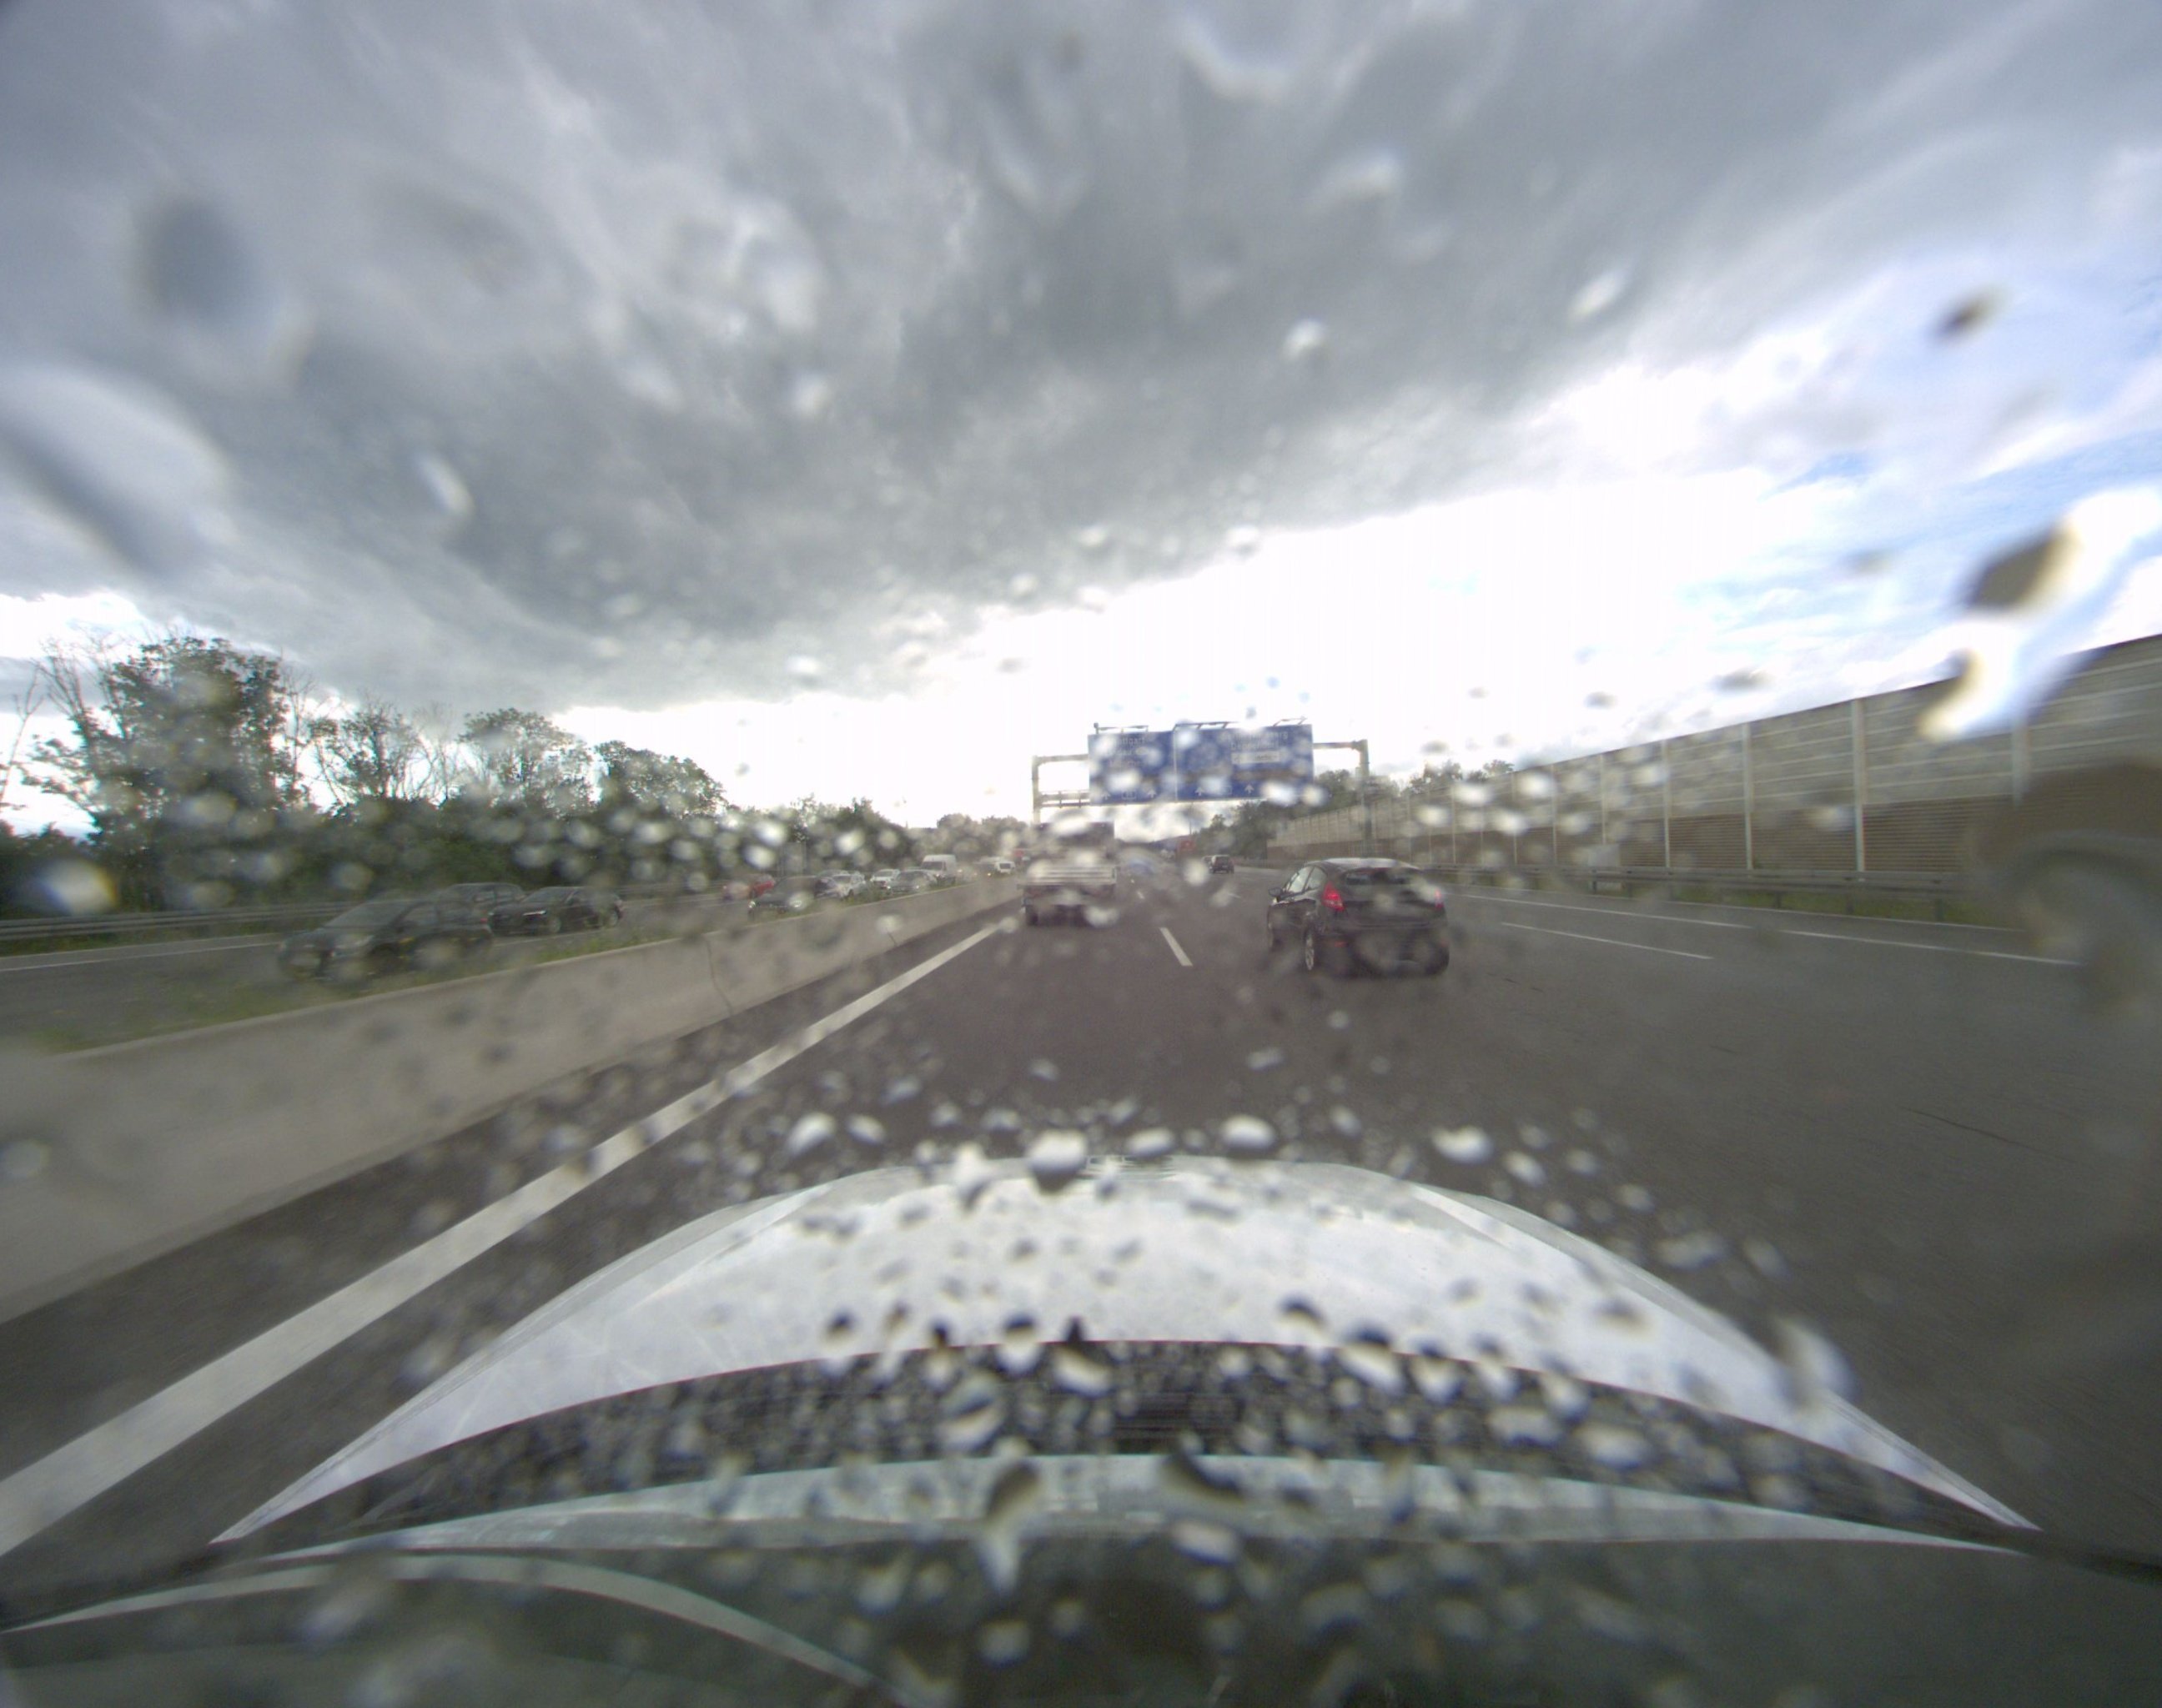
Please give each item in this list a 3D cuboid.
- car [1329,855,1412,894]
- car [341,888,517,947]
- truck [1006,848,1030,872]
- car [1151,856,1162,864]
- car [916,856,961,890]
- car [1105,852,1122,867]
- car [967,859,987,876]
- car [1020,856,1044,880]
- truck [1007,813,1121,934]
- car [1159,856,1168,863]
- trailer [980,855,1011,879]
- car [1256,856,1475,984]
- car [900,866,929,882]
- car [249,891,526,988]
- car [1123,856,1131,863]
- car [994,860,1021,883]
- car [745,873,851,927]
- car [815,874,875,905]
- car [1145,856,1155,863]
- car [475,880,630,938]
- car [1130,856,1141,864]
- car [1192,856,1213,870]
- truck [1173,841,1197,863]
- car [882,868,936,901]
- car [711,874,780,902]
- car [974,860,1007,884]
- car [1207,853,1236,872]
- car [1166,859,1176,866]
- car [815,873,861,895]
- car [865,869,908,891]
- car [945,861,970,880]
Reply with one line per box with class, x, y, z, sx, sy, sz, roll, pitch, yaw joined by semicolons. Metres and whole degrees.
car;11.315;0.764;32.158;1.942;1.418;4.235;-1;0;3
car;-21.343;2.018;27.006;1.716;1.603;4.916;0;0;2
truck;-11.407;1.043;148.908;2.786;4.112;12.304;-2;-1;3
car;15.861;1.332;171.414;1.961;1.561;4.432;-2;-1;0
car;-11.874;1.523;68.328;2.040;2.653;7.740;-2;-1;2
car;3.608;0.582;90.307;1.711;1.624;4.279;-1;1;1
car;-13.582;1.740;106.451;1.811;2.078;4.480;-2;0;2
car;-5.797;1.661;97.434;2.016;2.678;7.315;-2;-1;2
truck;-0.210;0.358;20.224;2.298;2.439;7.153;-1;1;2
car;22.117;1.457;217.503;1.961;1.561;4.432;-2;-1;0
trailer;-10.046;1.453;96.150;2.332;2.653;7.190;-2;-1;3
car;3.677;0.760;11.375;1.710;1.417;4.281;-1;0;2
car;-17.792;2.127;86.999;1.974;1.494;4.480;-2;-1;2
car;-14.261;1.668;17.203;1.716;1.603;4.647;0;0;2
car;12.488;1.490;220.498;1.961;1.561;4.433;-2;-1;0
car;-7.062;1.618;78.279;1.811;2.078;5.378;-2;-1;2
car;-9.506;1.474;27.821;1.716;1.603;4.916;0;0;2
car;-12.841;1.905;44.639;1.717;1.494;4.914;0;0;1
car;16.528;1.393;194.203;1.962;1.561;4.431;-2;-1;-1
car;-17.052;1.711;26.636;1.716;1.603;4.916;0;0;2
car;11.170;1.264;167.899;1.961;1.561;4.433;-2;-1;0
car;14.411;1.072;96.742;1.876;1.561;4.433;-2;-1;0
truck;17.469;-0.383;137.728;3.139;3.601;12.710;0;0;3
car;-9.087;1.585;43.473;1.717;1.603;4.914;0;0;1
car;-20.362;2.015;49.635;1.974;1.494;4.916;-2;-1;2
car;-7.504;1.454;68.062;1.811;1.904;5.427;-2;-1;2
car;12.046;0.736;70.082;1.874;1.542;4.437;-2;-1;3
car;21.439;1.952;193.963;1.961;1.561;4.432;-2;-1;0
car;-19.054;2.327;64.078;1.974;1.494;4.916;-2;-1;2
car;-15.320;2.025;64.387;1.974;1.494;4.916;-2;-1;2
car;-14.144;1.849;93.724;1.974;2.078;4.480;-2;-1;2
